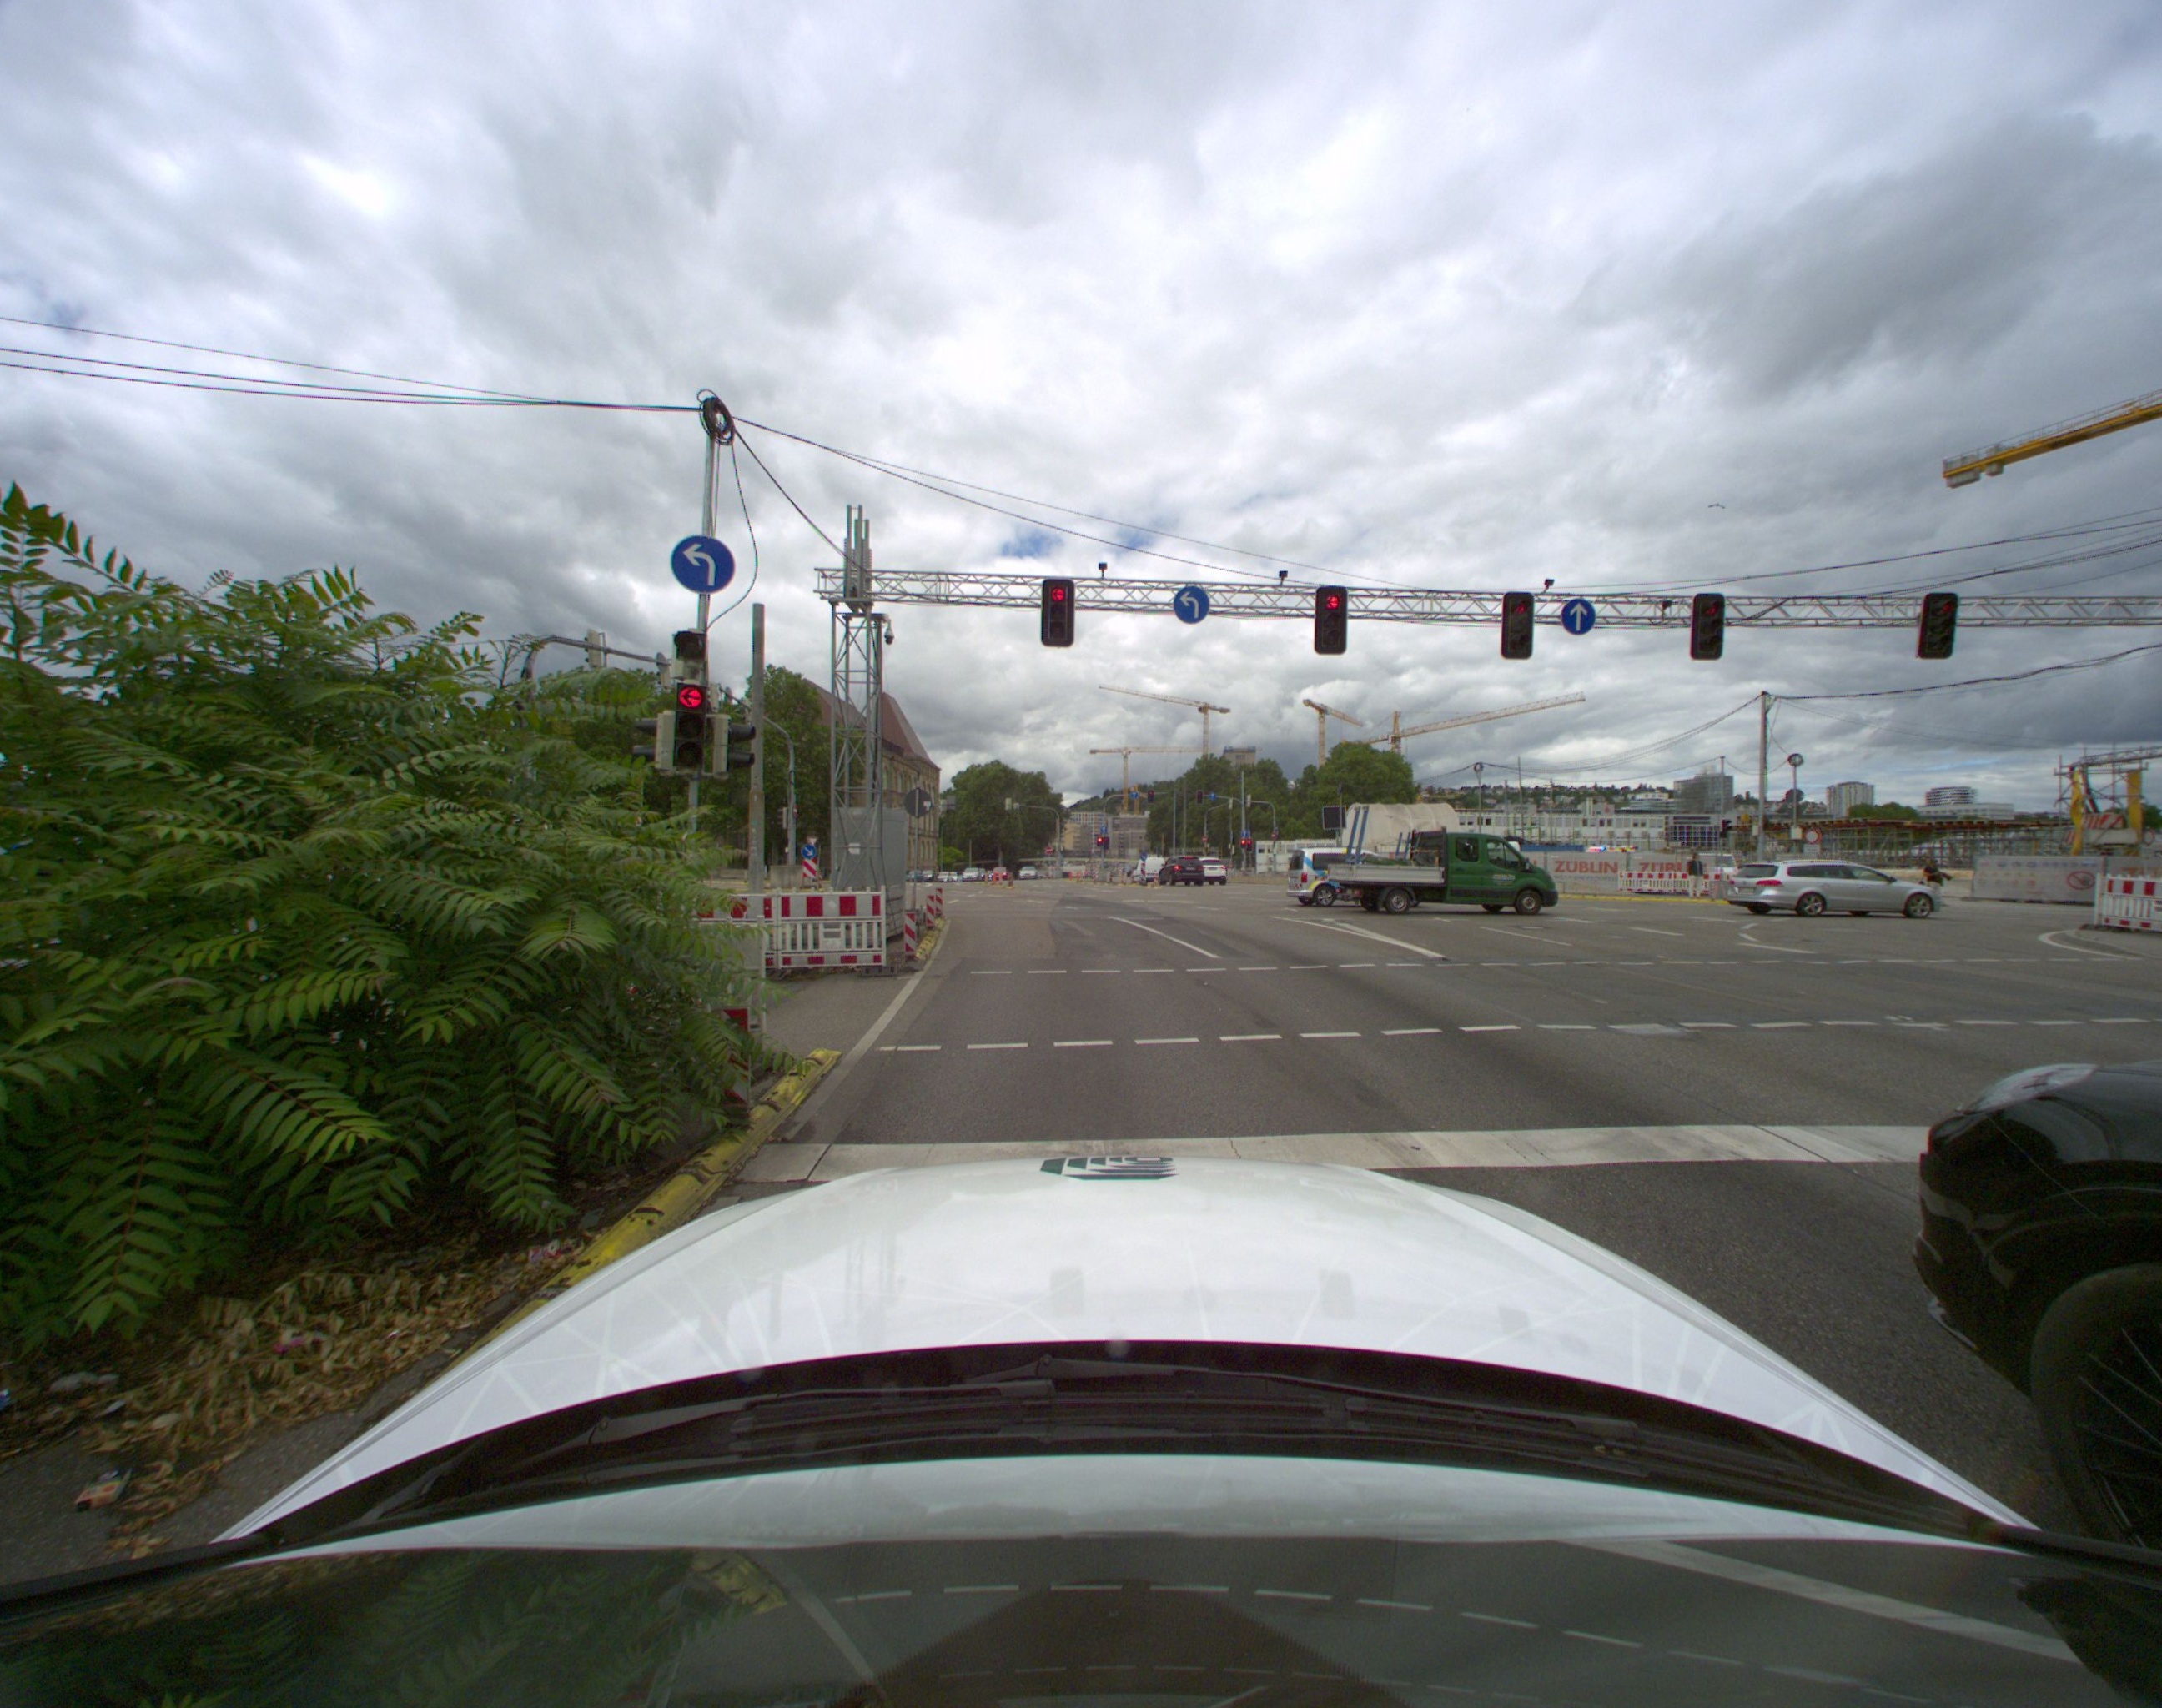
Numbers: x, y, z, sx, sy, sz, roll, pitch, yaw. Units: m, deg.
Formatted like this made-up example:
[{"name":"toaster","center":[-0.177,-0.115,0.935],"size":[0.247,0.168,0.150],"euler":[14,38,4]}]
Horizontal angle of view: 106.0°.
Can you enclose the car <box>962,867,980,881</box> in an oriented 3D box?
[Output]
[{"name":"car","center":[-11.633,2.106,86.061],"size":[1.673,1.398,3.677],"euler":[0,-1,-4]}]

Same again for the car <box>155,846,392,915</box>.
[{"name":"car","center":[-20.070,0.639,20.386],"size":[4.041,1.625,1.829],"euler":[0,-1,-1]}]

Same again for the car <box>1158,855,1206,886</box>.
[{"name":"car","center":[5.952,0.932,48.482],"size":[1.830,1.746,4.244],"euler":[0,-1,-8]}]

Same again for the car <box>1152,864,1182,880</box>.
[{"name":"car","center":[8.008,1.667,75.948],"size":[1.680,1.398,3.069],"euler":[0,-1,-16]}]

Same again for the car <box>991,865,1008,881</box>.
[{"name":"car","center":[-8.493,1.984,85.077],"size":[1.673,1.580,3.677],"euler":[0,-1,-4]}]

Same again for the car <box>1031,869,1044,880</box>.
[{"name":"car","center":[-5.686,2.674,105.657],"size":[1.673,1.398,3.677],"euler":[0,-1,-4]}]

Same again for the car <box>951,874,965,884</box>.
[{"name":"car","center":[-17.495,3.538,116.018],"size":[1.673,1.398,3.677],"euler":[0,-1,-4]}]

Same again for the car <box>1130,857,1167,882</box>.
[{"name":"car","center":[4.559,1.008,55.566],"size":[1.814,1.625,3.992],"euler":[0,-1,-5]}]

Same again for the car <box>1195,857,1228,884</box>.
[{"name":"car","center":[8.471,1.046,52.989],"size":[1.670,1.702,3.375],"euler":[0,-1,2]}]

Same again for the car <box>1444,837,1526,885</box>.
[{"name":"car","center":[23.224,0.412,46.965],"size":[3.957,2.662,1.688],"euler":[-1,-1,15]}]

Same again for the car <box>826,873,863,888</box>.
[{"name":"car","center":[-22.898,2.564,79.082],"size":[1.663,1.398,3.700],"euler":[-1,-1,18]}]

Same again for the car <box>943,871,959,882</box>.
[{"name":"car","center":[-17.346,3.067,108.983],"size":[1.672,1.398,3.678],"euler":[-1,-3,-3]}]

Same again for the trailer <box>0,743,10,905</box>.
[{"name":"trailer","center":[-35.288,-0.754,19.855],"size":[13.708,4.281,2.945],"euler":[0,-1,-3]}]

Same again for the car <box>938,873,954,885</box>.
[{"name":"car","center":[-16.893,3.119,102.112],"size":[1.673,1.398,3.677],"euler":[0,-1,-4]}]

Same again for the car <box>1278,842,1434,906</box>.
[{"name":"car","center":[8.460,0.597,25.299],"size":[4.255,1.882,1.829],"euler":[0,-1,-2]}]

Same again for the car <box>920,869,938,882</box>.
[{"name":"car","center":[-17.414,2.438,93.489],"size":[1.673,1.398,3.677],"euler":[0,-1,-4]}]

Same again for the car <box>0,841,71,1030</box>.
[{"name":"car","center":[-10.288,0.741,6.224],"size":[1.843,1.746,3.962],"euler":[0,-1,-29]}]

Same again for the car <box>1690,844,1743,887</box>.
[{"name":"car","center":[30.127,0.551,38.692],"size":[1.755,1.954,3.146],"euler":[-1,-1,34]}]

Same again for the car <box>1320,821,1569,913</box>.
[{"name":"car","center":[9.676,0.341,22.010],"size":[5.745,2.305,2.301],"euler":[0,-1,-3]}]

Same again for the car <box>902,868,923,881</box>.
[{"name":"car","center":[-17.890,2.157,86.665],"size":[1.673,1.398,3.677],"euler":[0,-1,-4]}]

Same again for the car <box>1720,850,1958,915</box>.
[{"name":"car","center":[19.921,0.724,21.534],"size":[4.693,1.625,1.682],"euler":[0,-1,1]}]

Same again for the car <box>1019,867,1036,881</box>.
[{"name":"car","center":[-5.601,2.056,85.355],"size":[1.673,1.398,3.677],"euler":[0,-1,-4]}]

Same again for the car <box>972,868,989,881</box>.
[{"name":"car","center":[-11.381,2.255,92.218],"size":[1.673,1.398,3.677],"euler":[0,-1,-4]}]

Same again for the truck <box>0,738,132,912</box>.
[{"name":"truck","center":[-27.760,-0.656,20.170],"size":[4.864,4.064,2.942],"euler":[0,-1,-3]}]
